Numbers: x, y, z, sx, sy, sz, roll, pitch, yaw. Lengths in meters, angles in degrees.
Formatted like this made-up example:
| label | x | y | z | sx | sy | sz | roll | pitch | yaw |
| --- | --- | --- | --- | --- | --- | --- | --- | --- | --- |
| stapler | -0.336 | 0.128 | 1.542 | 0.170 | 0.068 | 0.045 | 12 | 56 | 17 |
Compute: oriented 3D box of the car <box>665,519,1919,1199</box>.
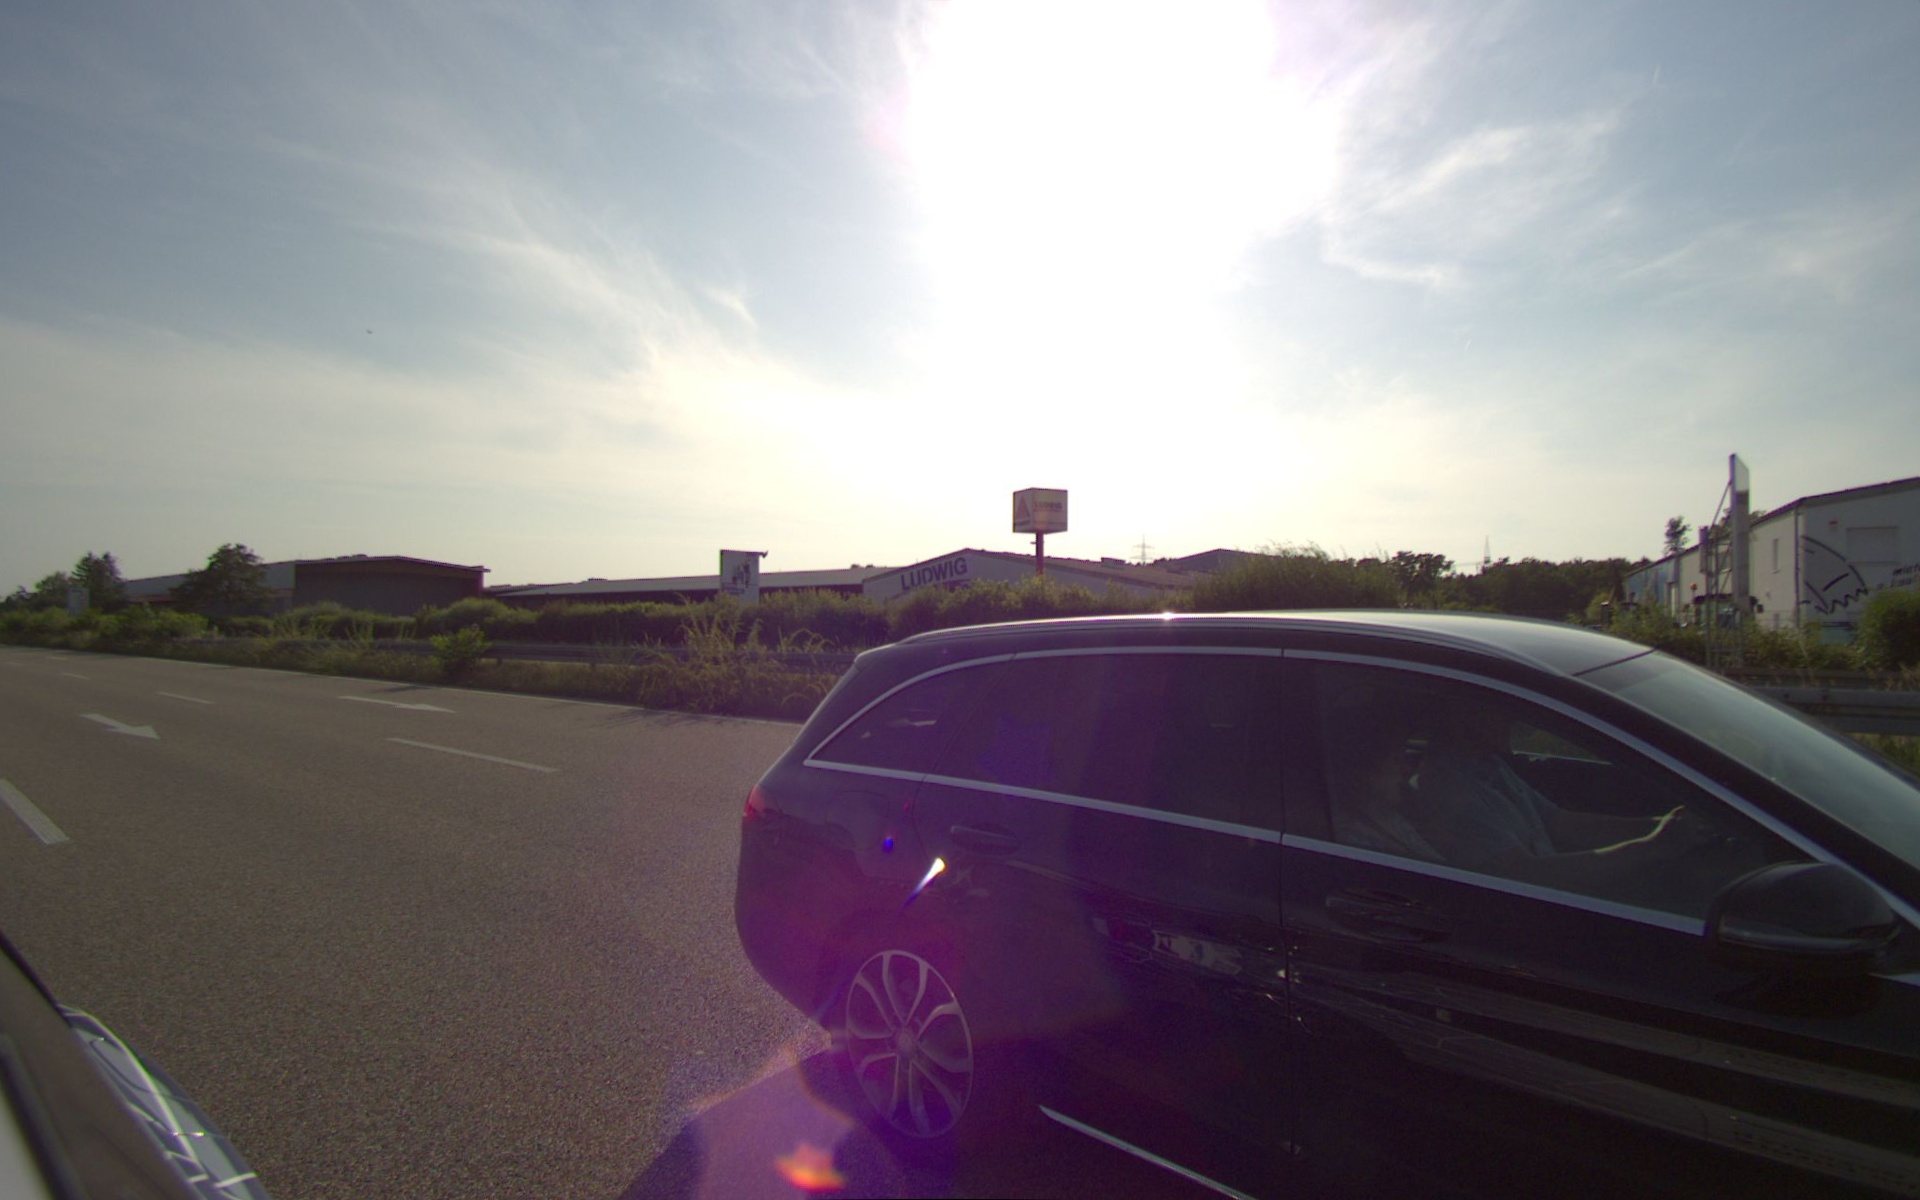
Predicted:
| label | x | y | z | sx | sy | sz | roll | pitch | yaw |
| --- | --- | --- | --- | --- | --- | --- | --- | --- | --- |
| car | 1.433 | 0.650 | 2.196 | 5.020 | 1.482 | 1.556 | -1 | -1 | 41 |
